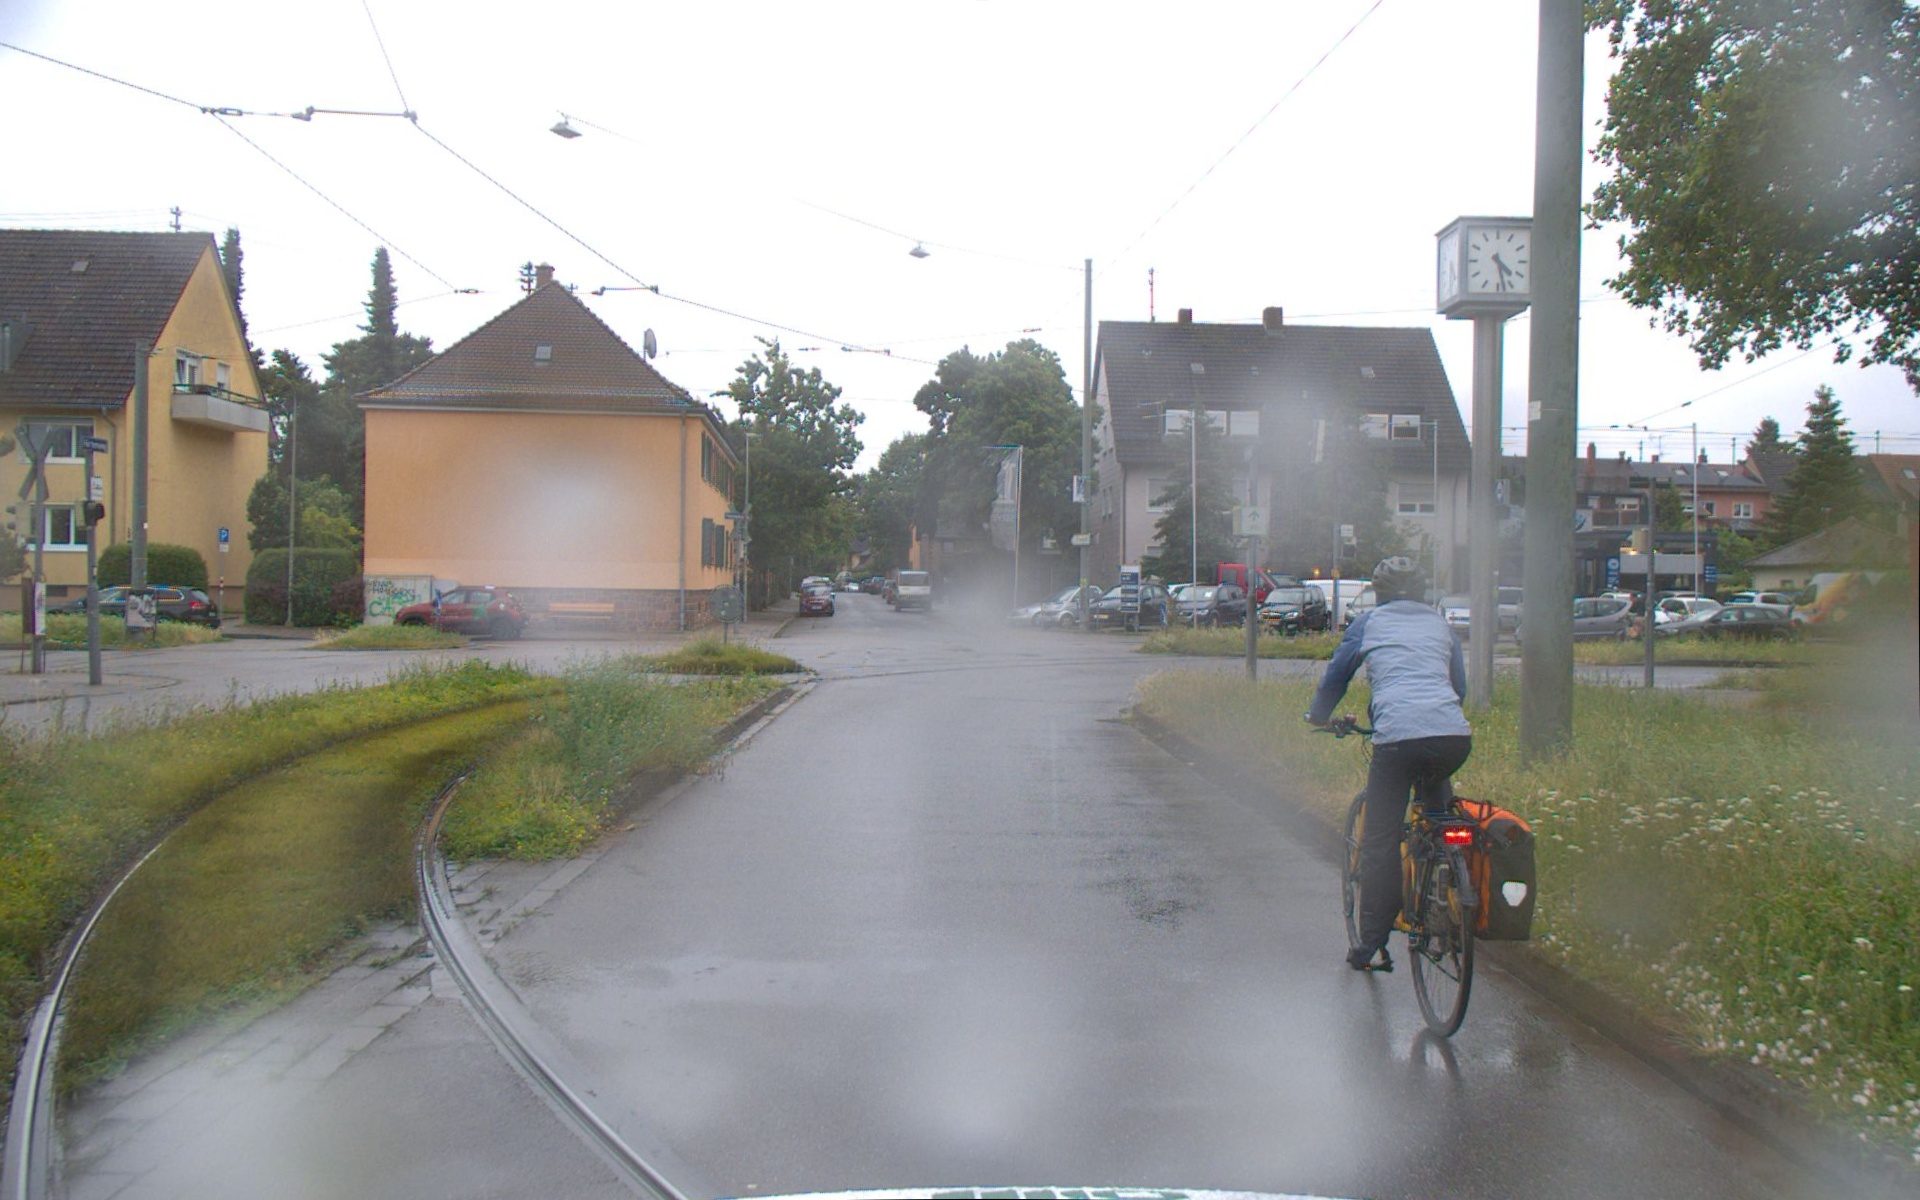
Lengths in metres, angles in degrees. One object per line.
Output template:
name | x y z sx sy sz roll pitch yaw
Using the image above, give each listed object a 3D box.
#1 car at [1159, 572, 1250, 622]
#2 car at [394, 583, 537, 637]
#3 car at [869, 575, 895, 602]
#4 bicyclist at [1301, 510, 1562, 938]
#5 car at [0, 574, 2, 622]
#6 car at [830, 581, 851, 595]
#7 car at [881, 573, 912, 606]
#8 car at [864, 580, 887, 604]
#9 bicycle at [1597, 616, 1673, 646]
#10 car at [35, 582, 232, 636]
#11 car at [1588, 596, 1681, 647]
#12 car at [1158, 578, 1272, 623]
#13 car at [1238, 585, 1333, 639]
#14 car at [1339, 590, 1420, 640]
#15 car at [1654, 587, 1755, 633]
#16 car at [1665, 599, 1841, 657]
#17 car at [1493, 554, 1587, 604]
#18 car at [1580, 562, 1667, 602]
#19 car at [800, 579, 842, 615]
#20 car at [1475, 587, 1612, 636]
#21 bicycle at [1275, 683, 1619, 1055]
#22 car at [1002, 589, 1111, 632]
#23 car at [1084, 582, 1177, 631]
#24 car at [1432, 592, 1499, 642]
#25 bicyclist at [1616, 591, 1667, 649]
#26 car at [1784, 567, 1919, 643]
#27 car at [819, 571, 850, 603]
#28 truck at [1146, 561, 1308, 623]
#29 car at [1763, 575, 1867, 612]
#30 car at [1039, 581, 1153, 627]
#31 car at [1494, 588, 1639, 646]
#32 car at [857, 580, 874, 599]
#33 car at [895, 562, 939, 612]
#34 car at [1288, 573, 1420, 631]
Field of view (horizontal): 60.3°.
car | 8.267 -0.108 55.650 1.768 1.606 3.864 0 0 30
car | -13.965 0.272 46.879 3.535 1.362 1.721 3 0 -5
car | -6.132 -0.898 130.169 1.793 2.048 3.996 3 0 -5
bicyclist | 1.762 0.437 6.297 0.735 1.511 0.846 -1 0 0
car | -28.411 -0.125 44.708 3.910 1.355 1.758 3 0 -6
car | -15.751 -1.593 217.823 1.800 1.726 4.010 3 0 -19
car | -4.203 -0.694 109.308 1.954 2.048 3.998 3 0 -3
car | -7.612 -0.769 148.598 1.793 2.048 3.996 3 0 -5
bicycle | 19.183 0.875 47.017 1.778 0.800 0.942 0 0 -4
car | -22.813 0.239 45.793 4.402 1.420 1.965 1 0 -5
car | 22.797 0.704 56.002 1.682 1.600 3.618 3 0 1
car | 9.388 0.009 60.815 3.882 1.626 2.001 0 -1 18
car | 10.909 0.369 55.230 1.956 1.747 3.992 0 0 30
car | 14.023 0.510 55.183 1.792 1.530 4.054 3 0 26
car | 25.036 0.311 55.779 1.682 1.420 3.842 3 0 1
car | 23.130 0.806 48.303 4.288 1.362 1.722 4 0 -4
car | 19.502 -0.697 55.756 1.765 1.606 3.871 0 0 -1
car | 27.819 -0.752 69.503 1.746 1.524 3.996 3 0 -5
car | -6.698 -0.135 79.702 1.954 1.646 3.996 1 0 -5
car | 21.118 0.409 59.955 4.342 1.717 1.760 0 -1 0
bicycle | 1.767 0.921 6.341 0.737 1.091 1.927 -1 0 0
car | 3.708 0.396 63.574 3.806 1.606 1.795 0 0 -22
car | 5.909 0.201 56.951 1.768 1.606 3.864 0 0 30
car | 16.820 0.557 55.201 1.789 1.530 4.061 3 0 13
bicyclist | 19.373 0.573 47.027 1.018 1.626 0.949 0 0 -4
car | 31.192 0.162 57.653 2.102 2.448 5.146 3 0 -3
car | -8.600 -0.889 113.568 1.954 2.048 3.998 3 0 -3
truck | 10.270 -0.292 63.598 5.955 2.312 2.001 0 -1 17
car | 37.859 -0.272 73.233 4.374 1.608 1.780 1 -1 -24
car | 4.952 0.127 60.319 3.806 1.606 1.795 0 0 -22
car | 17.832 0.486 48.720 3.560 1.530 1.722 3 0 -4
car | -11.093 -1.223 194.301 1.793 2.048 3.996 3 0 -5
car | -2.422 -0.707 91.984 2.111 2.617 4.130 3 0 -5
car | 14.265 0.093 60.021 4.342 2.049 2.000 0 -1 0
